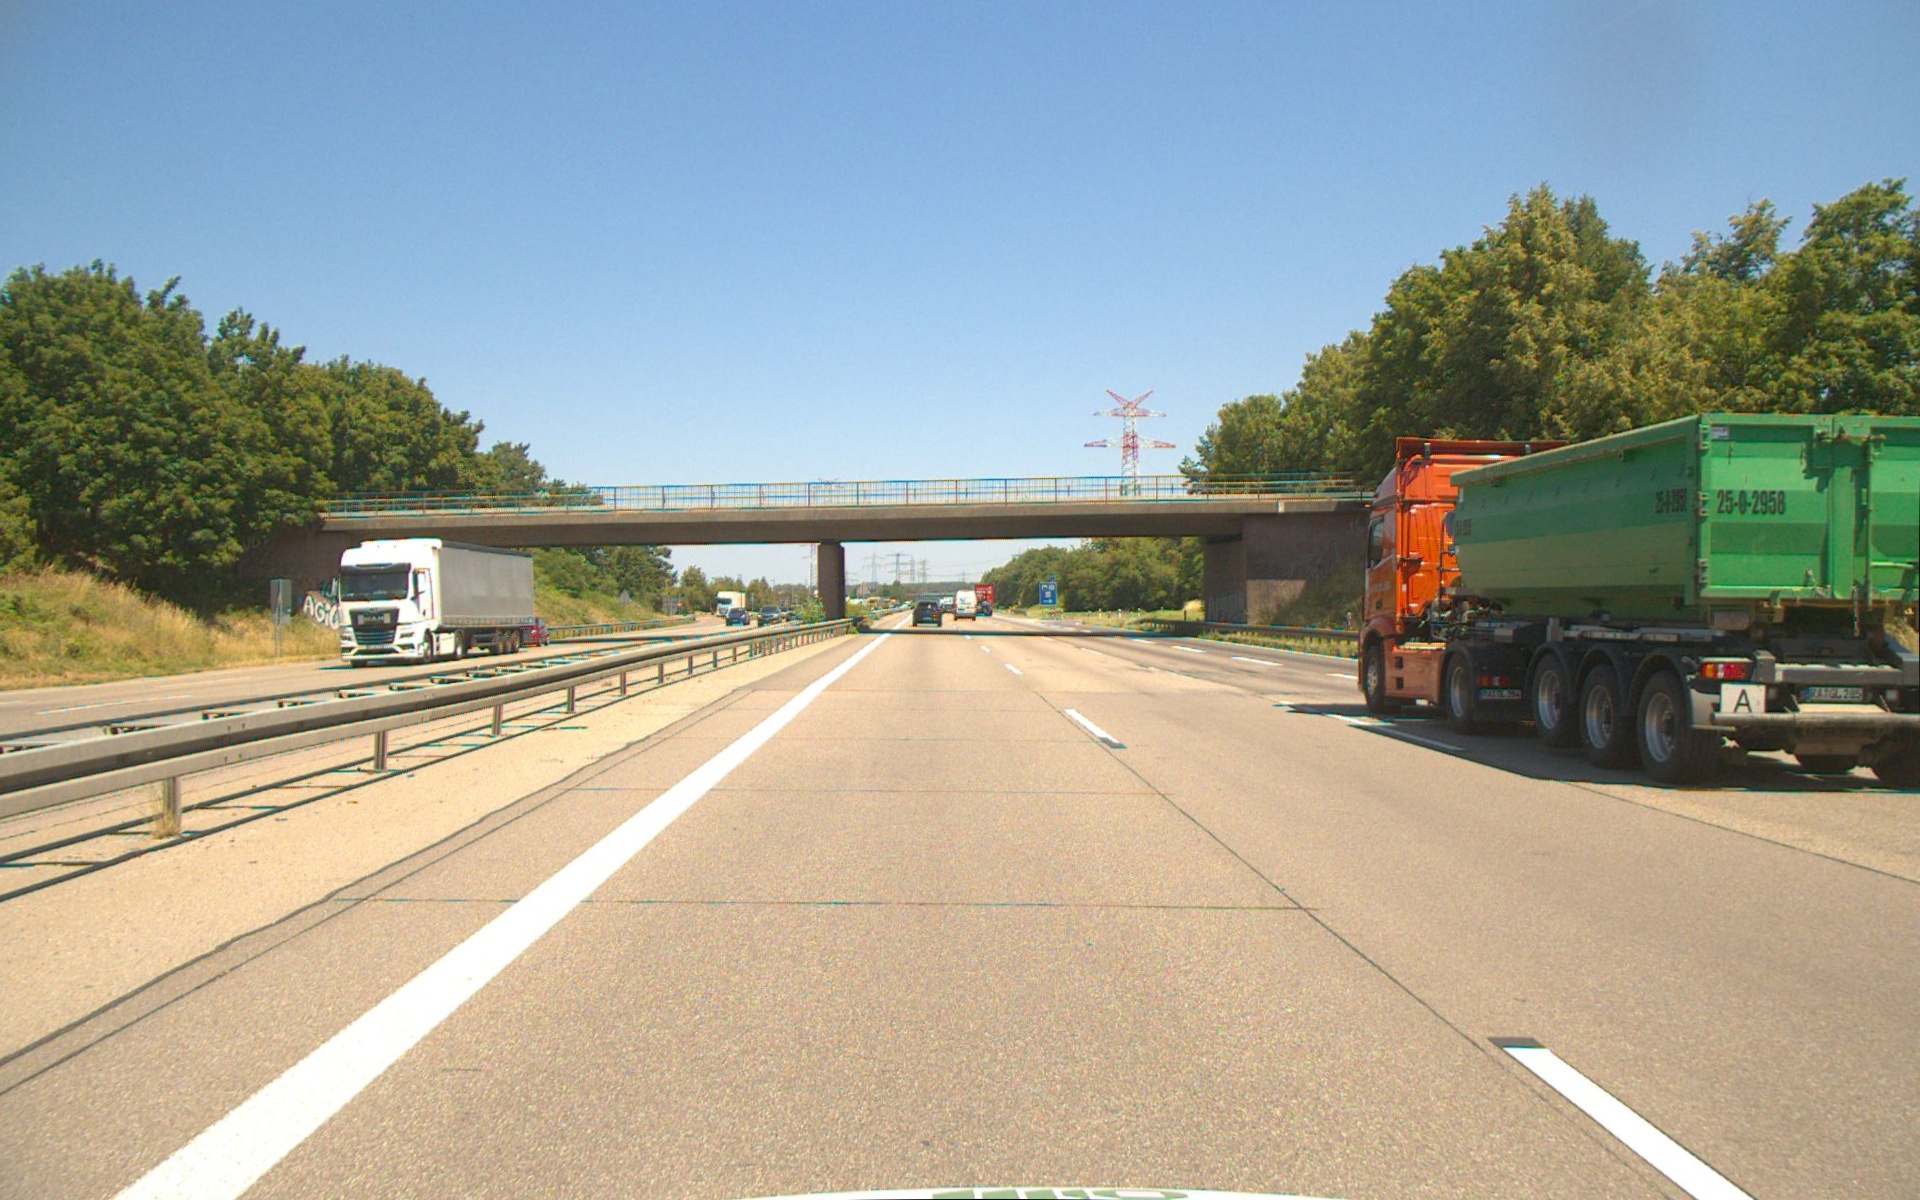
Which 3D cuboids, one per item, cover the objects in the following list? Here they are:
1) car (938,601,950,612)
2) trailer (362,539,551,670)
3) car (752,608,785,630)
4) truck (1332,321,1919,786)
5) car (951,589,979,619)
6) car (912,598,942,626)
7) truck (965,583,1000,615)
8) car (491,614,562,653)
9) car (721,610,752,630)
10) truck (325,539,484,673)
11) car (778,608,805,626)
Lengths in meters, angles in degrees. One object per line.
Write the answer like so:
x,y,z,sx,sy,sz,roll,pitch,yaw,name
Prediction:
-2.353,0.979,245.678,1.712,1.662,4.002,1,0,-1,car
-18.523,0.135,62.121,2.889,4.179,14.099,-3,0,-1,trailer
-15.957,1.556,138.142,2.183,1.639,5.058,-3,0,-2,car
7.372,-0.388,20.097,2.626,3.864,12.475,1,0,-1,truck
0.455,0.353,157.140,2.568,2.807,6.095,1,0,-1,car
-2.226,0.801,110.474,1.953,1.780,3.999,1,0,-2,car
2.987,-0.135,222.690,4.243,4.010,16.074,1,0,-1,truck
-20.707,1.587,79.223,2.183,1.639,4.786,-3,0,-2,car
-20.473,1.841,151.600,2.183,1.639,5.058,-3,0,-2,car
-18.345,0.173,55.085,2.890,4.029,6.951,-3,0,-1,truck
-16.648,1.665,163.675,2.183,1.639,5.058,-3,0,-2,car
